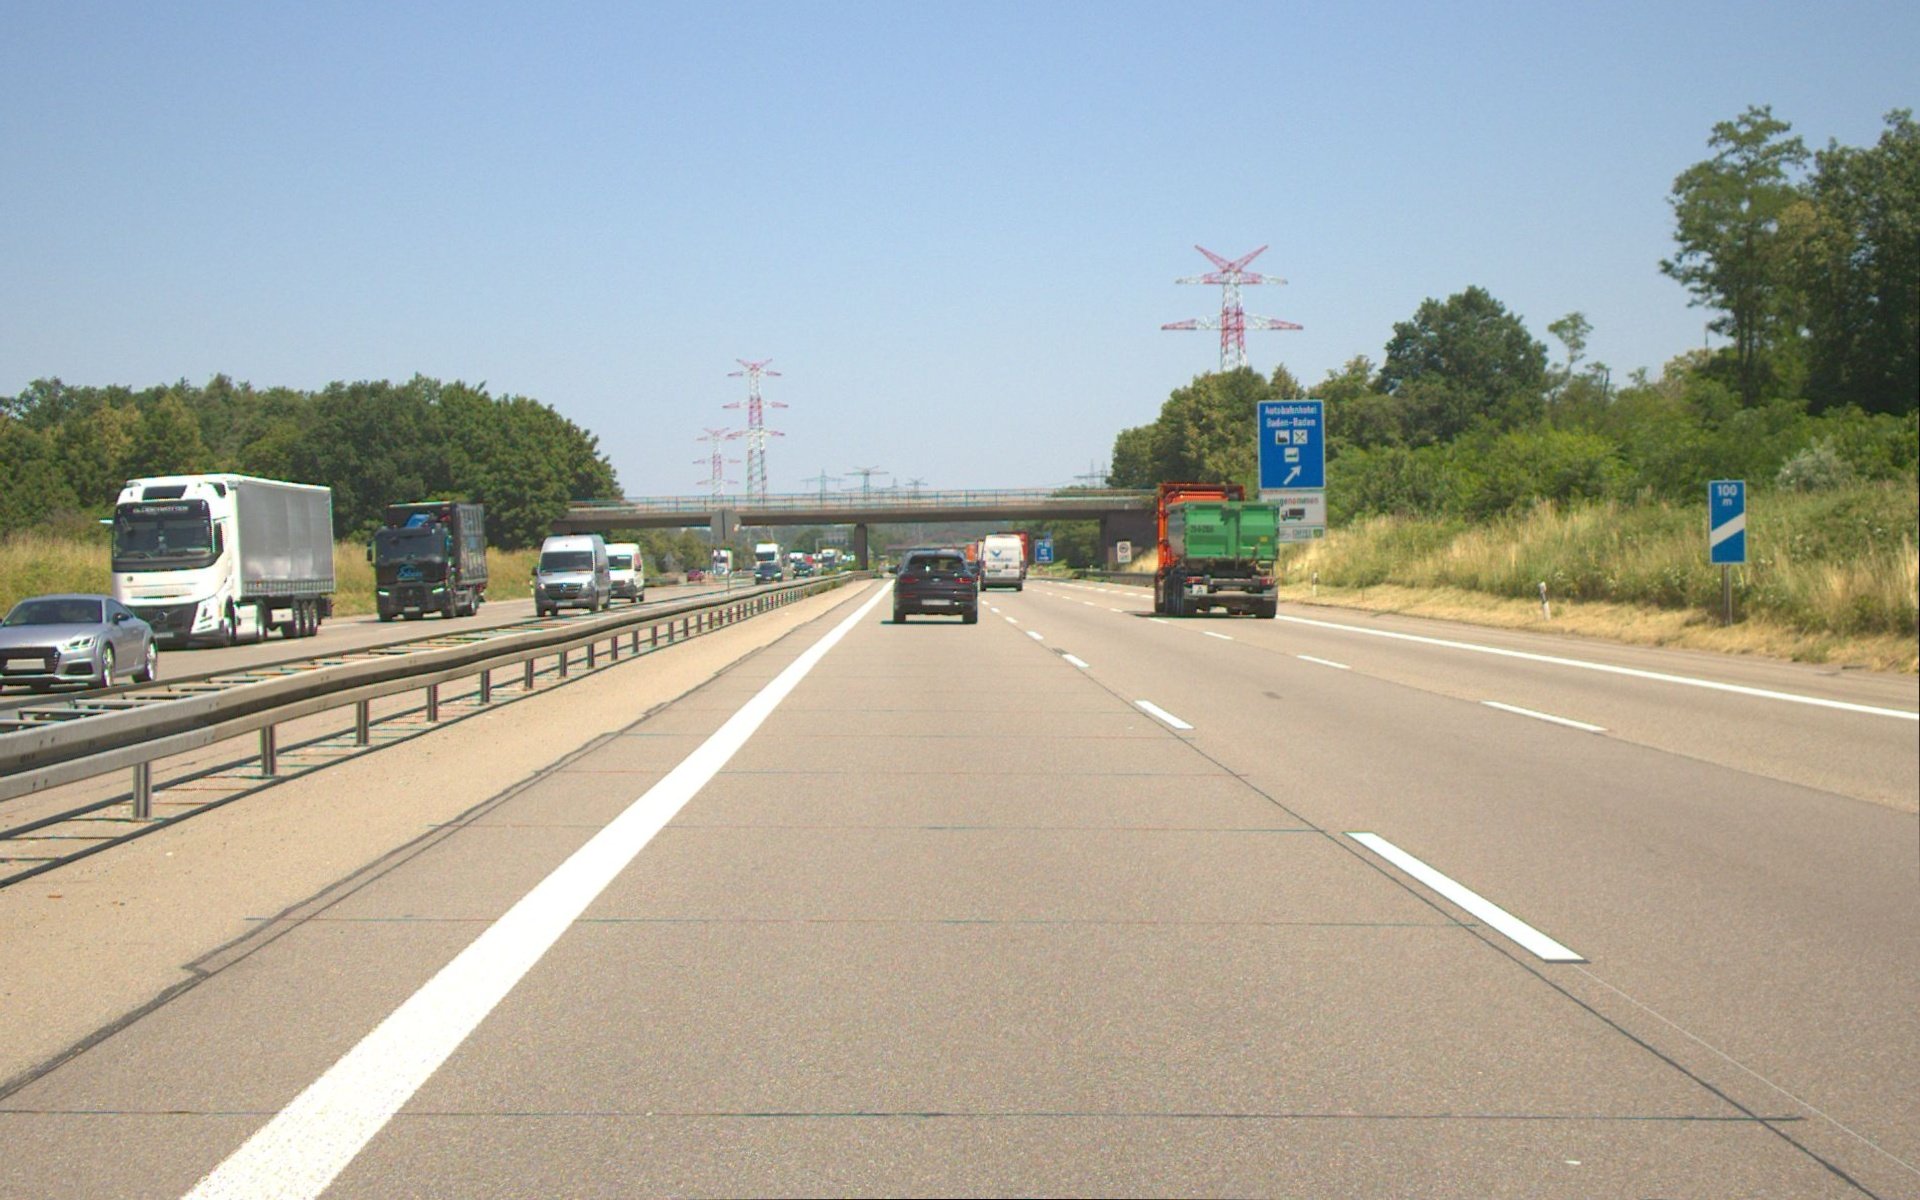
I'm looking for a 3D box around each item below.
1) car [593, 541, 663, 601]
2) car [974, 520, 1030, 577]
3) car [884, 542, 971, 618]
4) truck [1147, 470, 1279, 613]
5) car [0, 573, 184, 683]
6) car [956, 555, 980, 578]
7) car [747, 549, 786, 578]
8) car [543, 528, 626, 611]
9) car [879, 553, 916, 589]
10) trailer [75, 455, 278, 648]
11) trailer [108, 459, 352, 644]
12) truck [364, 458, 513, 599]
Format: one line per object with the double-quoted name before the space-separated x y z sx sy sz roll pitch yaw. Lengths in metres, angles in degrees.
"car" -14.387 -1.262 149.460 2.364 2.440 7.134 -3 1 -1
"car" 2.079 -2.541 171.005 2.621 2.750 6.096 1 1 -1
"car" -0.783 -0.501 82.160 1.993 1.744 4.000 1 1 -1
"truck" 7.088 -1.644 97.991 2.681 3.785 12.479 1 1 -1
"car" -12.698 0.367 49.363 1.962 1.424 5.291 -2 1 -1
"car" 0.567 -2.523 258.181 1.747 1.628 4.004 1 1 -1
"car" -13.156 -2.477 233.801 2.364 1.888 5.225 -3 1 -1
"car" -12.367 -1.014 113.517 1.993 2.561 6.390 -3 1 -1
"car" -3.112 -1.467 171.480 1.794 1.744 4.000 1 1 -1
"trailer" -18.255 -1.134 80.518 3.155 4.184 6.326 -3 1 -1
"trailer" -18.348 -1.227 87.572 3.155 4.184 14.126 -3 1 -1
"truck" -18.417 -2.496 122.293 3.377 4.609 12.187 -3 1 -1
